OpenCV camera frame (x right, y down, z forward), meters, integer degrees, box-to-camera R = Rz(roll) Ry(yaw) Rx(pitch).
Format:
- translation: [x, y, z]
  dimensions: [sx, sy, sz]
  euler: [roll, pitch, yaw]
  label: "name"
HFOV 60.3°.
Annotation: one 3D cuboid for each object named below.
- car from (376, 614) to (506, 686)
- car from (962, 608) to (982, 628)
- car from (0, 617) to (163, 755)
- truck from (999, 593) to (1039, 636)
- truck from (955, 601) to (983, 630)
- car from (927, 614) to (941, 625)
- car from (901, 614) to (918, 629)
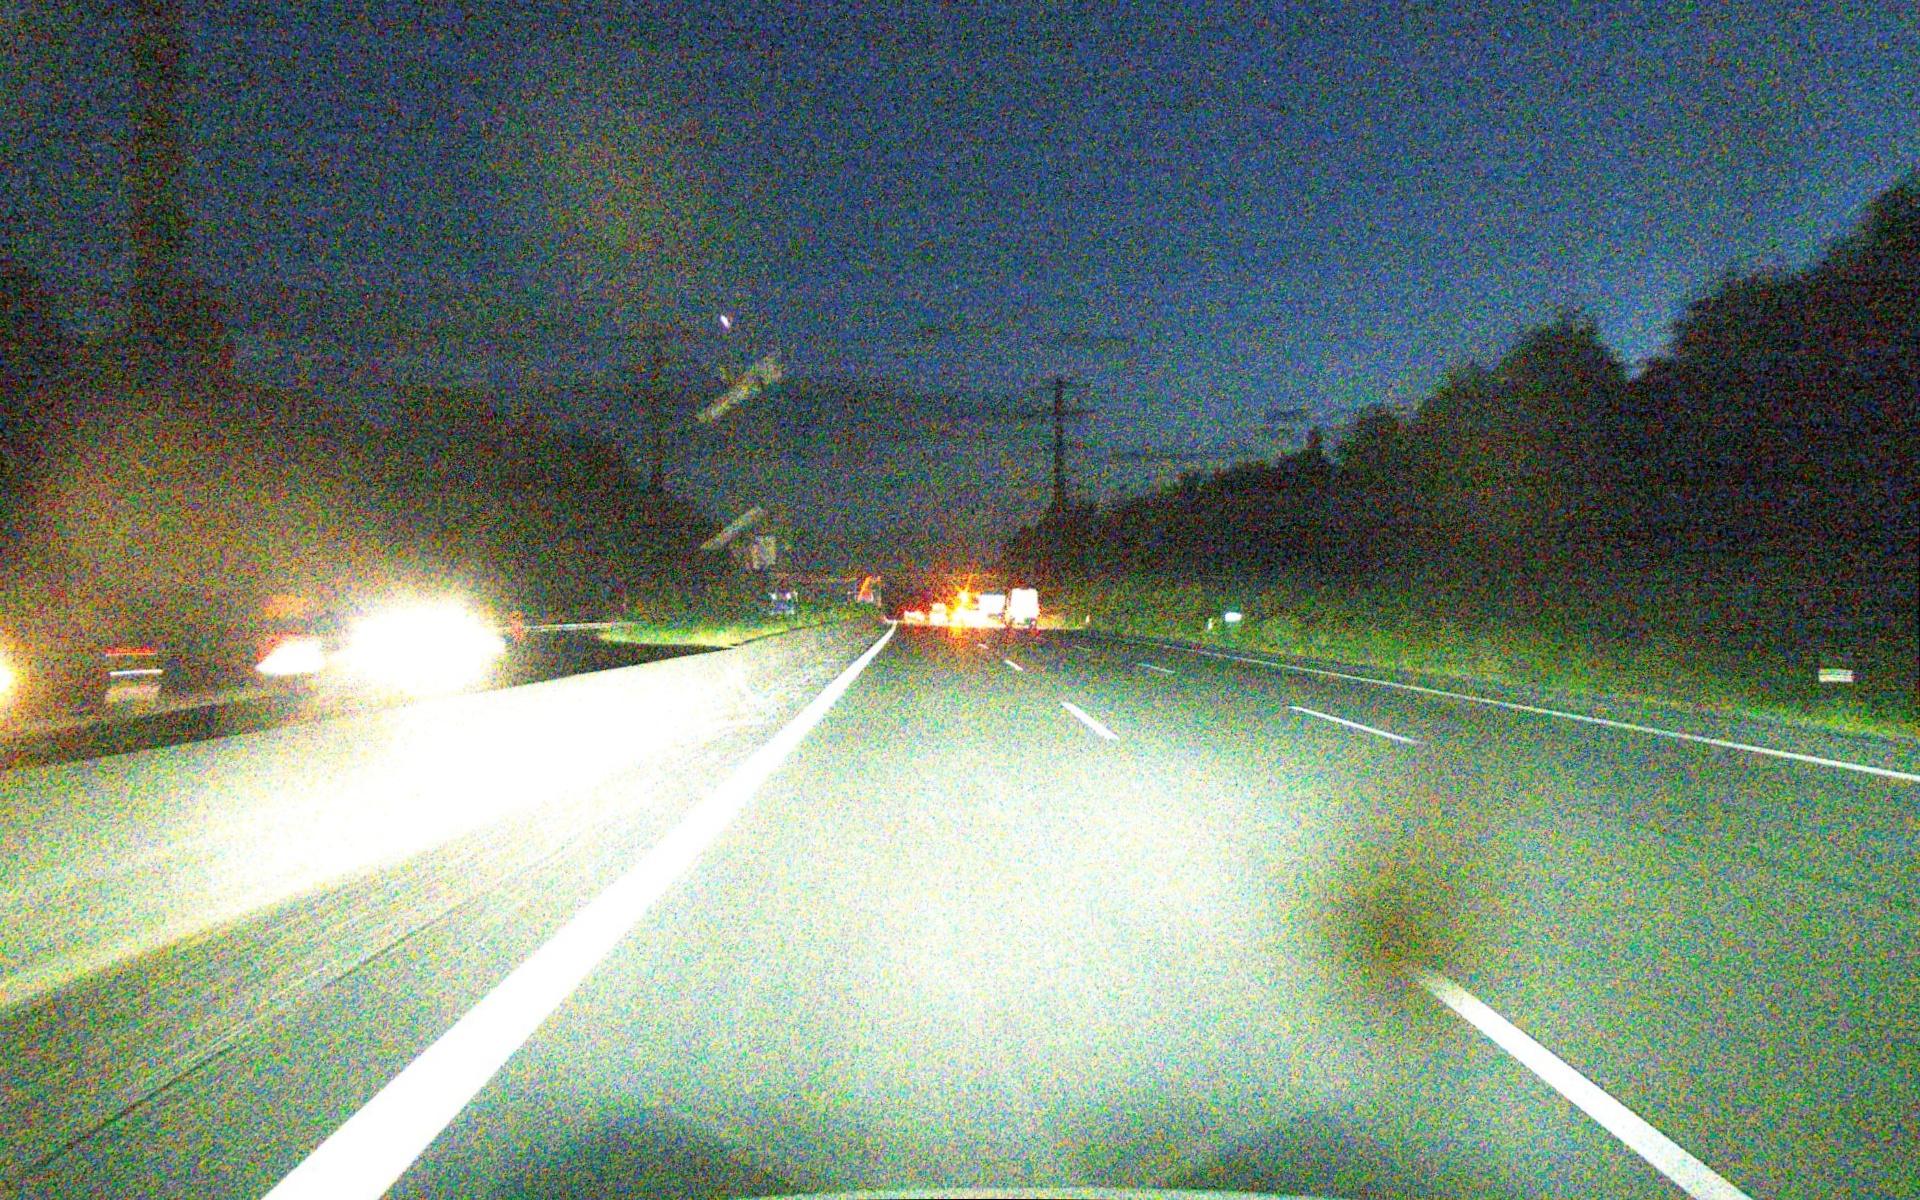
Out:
- translation: [-12.020, 1.115, 38.583]
  dimensions: [1.715, 1.504, 4.580]
  euler: [-2, 0, -2]
  label: "car"
- translation: [0.894, 1.338, 124.592]
  dimensions: [1.319, 1.411, 3.500]
  euler: [2, 0, -1]
  label: "car"
- translation: [-11.709, 1.012, 20.354]
  dimensions: [1.715, 1.504, 4.580]
  euler: [-2, 0, -2]
  label: "car"
- translation: [4.116, 1.101, 116.649]
  dimensions: [2.035, 2.738, 7.301]
  euler: [2, -2, -3]
  label: "truck"
- translation: [1.102, 1.807, 202.470]
  dimensions: [2.983, 3.383, 10.138]
  euler: [2, 0, -2]
  label: "truck"
- translation: [-3.598, 2.688, 227.296]
  dimensions: [1.784, 1.492, 4.246]
  euler: [2, 0, -1]
  label: "car"
- translation: [-5.485, 2.295, 179.433]
  dimensions: [1.784, 1.492, 4.246]
  euler: [2, 0, -1]
  label: "car"
